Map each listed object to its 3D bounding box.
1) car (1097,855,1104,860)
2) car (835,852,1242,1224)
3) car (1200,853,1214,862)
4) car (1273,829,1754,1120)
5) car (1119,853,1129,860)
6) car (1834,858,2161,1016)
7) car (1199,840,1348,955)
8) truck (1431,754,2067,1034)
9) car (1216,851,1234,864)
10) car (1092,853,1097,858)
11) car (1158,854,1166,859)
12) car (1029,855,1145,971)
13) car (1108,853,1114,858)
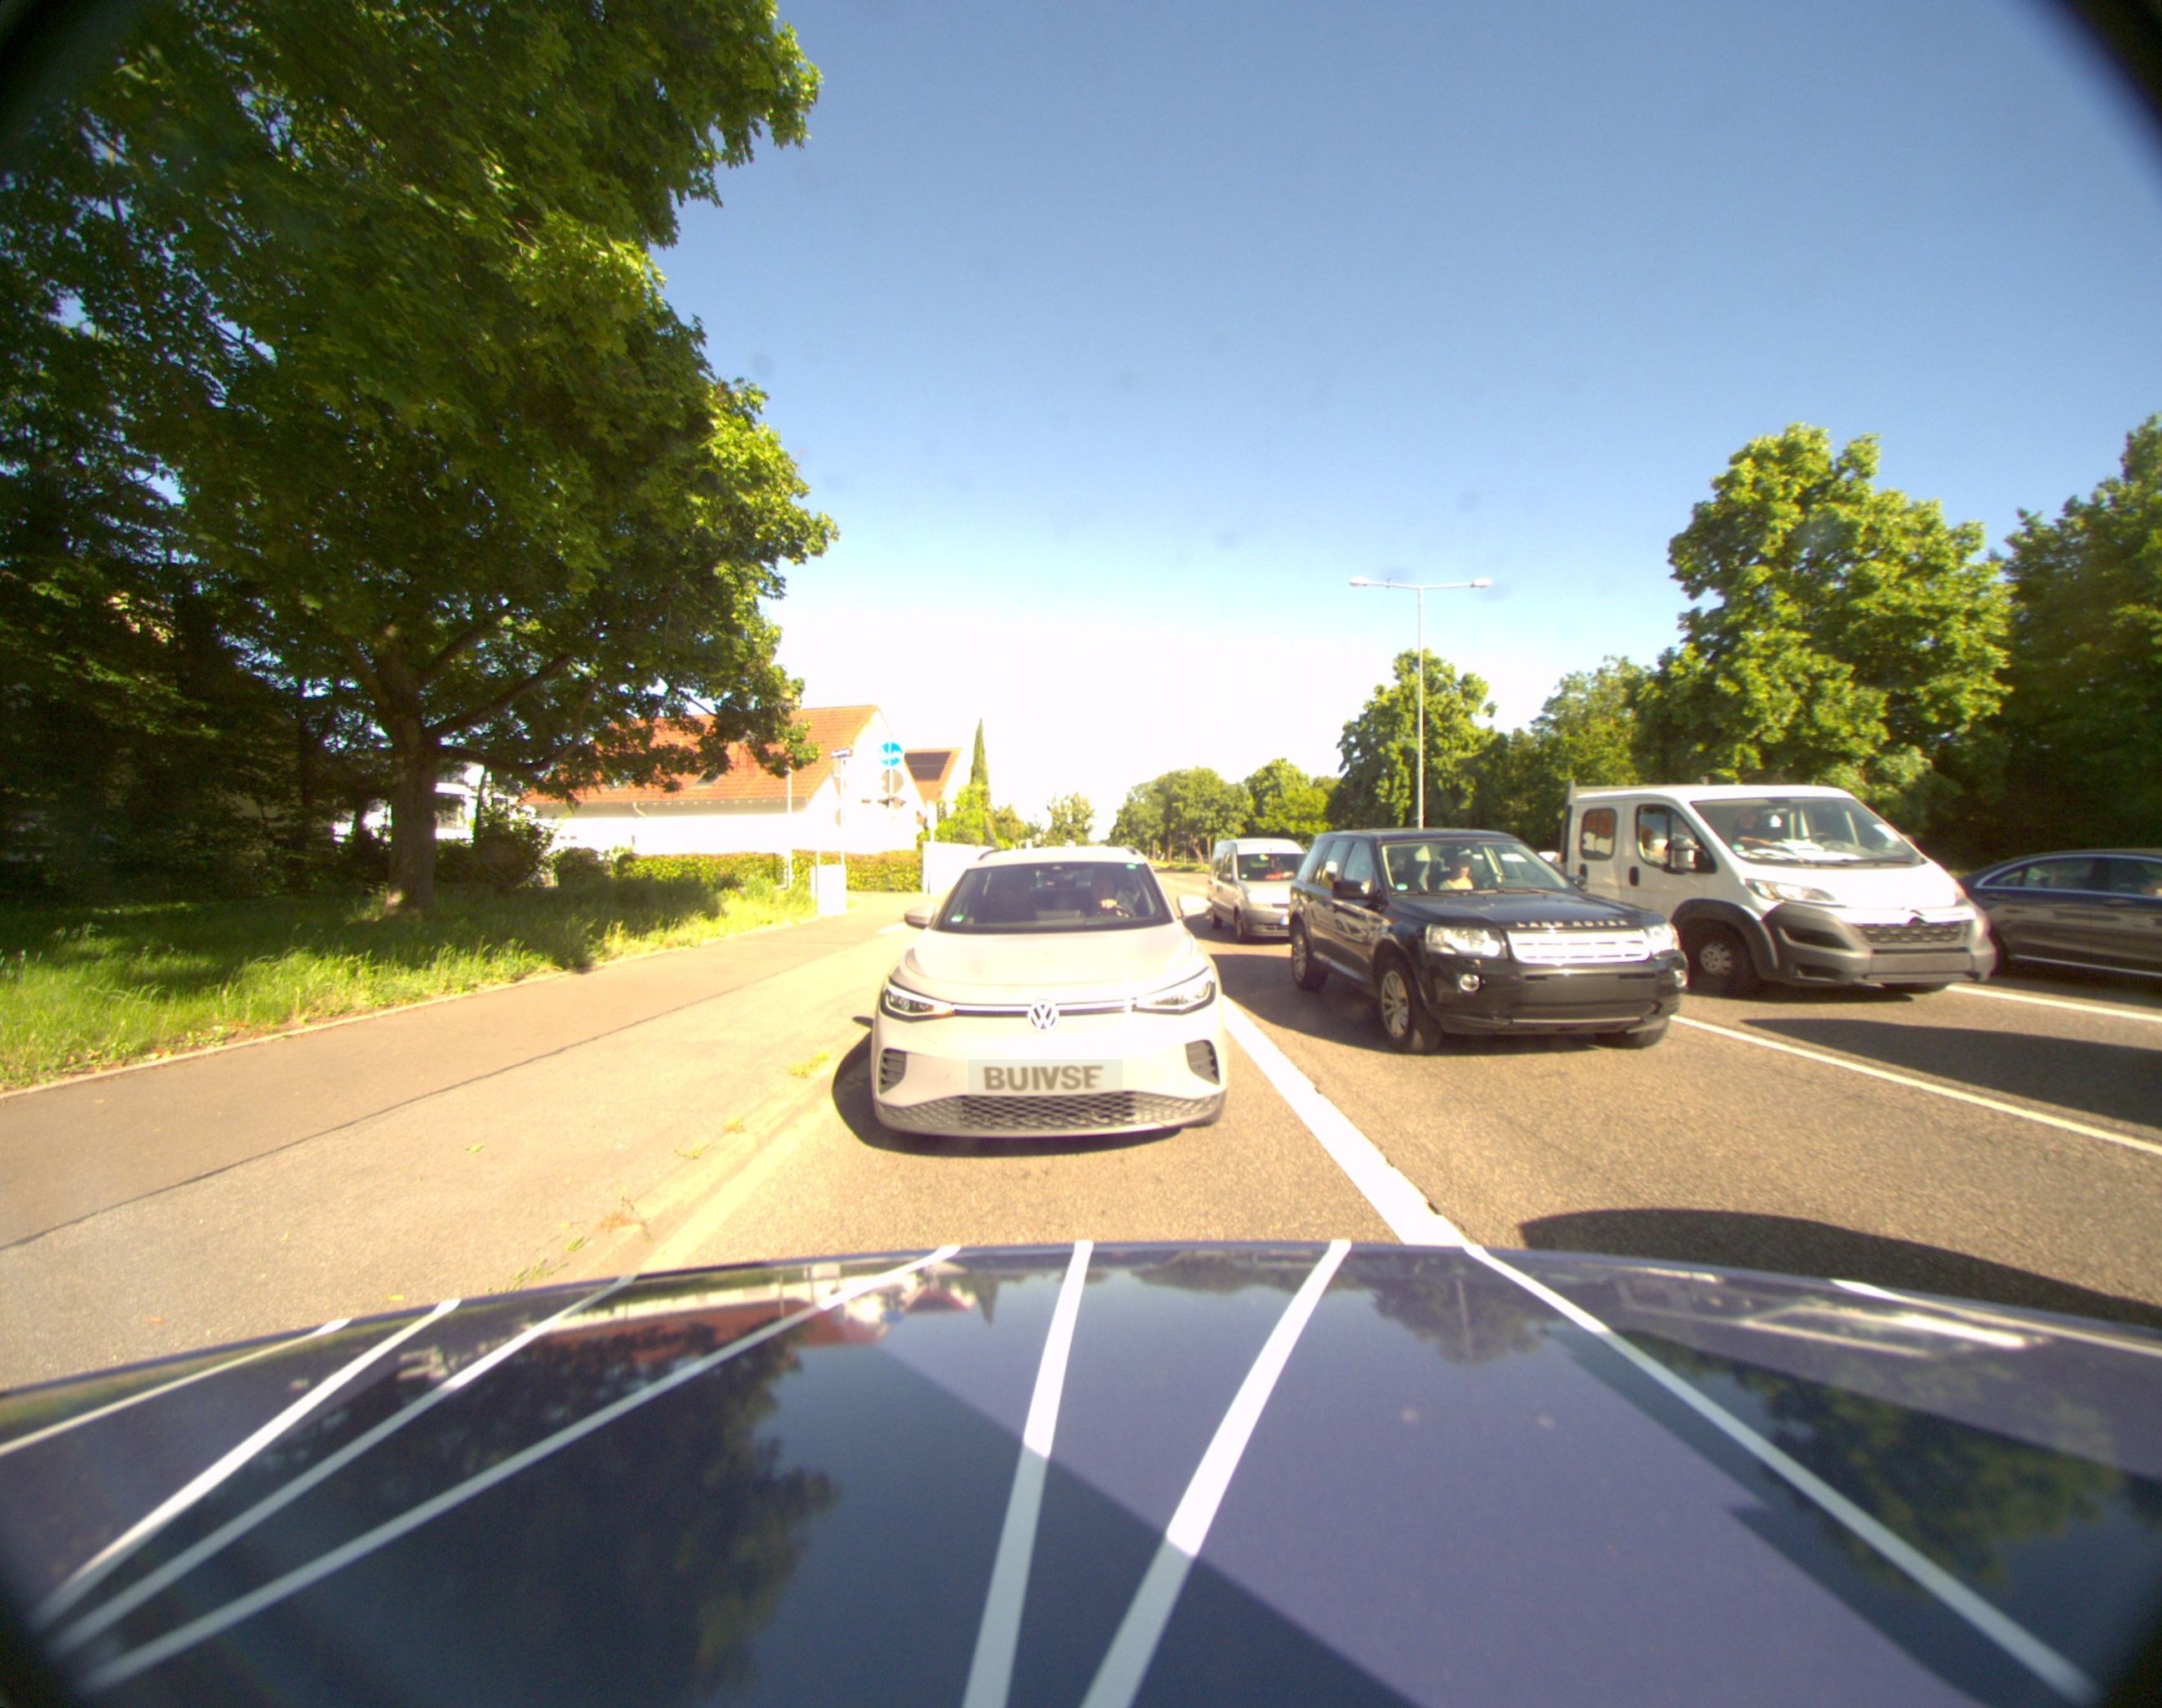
[{"bbox_3d":[4.951,0.870,193.717,1.704,1.466,3.931,0,0,1],"label":"car"},{"bbox_3d":[-0.168,0.841,5.582,1.858,1.679,4.206,0,1,1],"label":"car"},{"bbox_3d":[20.494,0.539,123.671,1.792,1.409,4.000,0,0,1],"label":"car"},{"bbox_3d":[3.168,0.707,6.777,1.816,1.721,4.386,-2,1,1],"label":"car"},{"bbox_3d":[8.641,0.534,152.439,1.704,1.466,3.931,-1,0,0],"label":"car"},{"bbox_3d":[10.721,0.781,7.680,1.816,1.382,4.385,1,1,-1],"label":"car"},{"bbox_3d":[3.327,0.645,13.972,1.632,1.741,4.386,-2,1,1],"label":"car"},{"bbox_3d":[7.216,0.301,9.820,2.185,2.307,6.842,-2,1,0],"label":"truck"},{"bbox_3d":[19.978,0.488,105.454,1.792,1.674,4.000,0,0,1],"label":"car"},{"bbox_3d":[4.464,0.545,248.469,1.726,1.630,4.000,0,0,1],"label":"car"},{"bbox_3d":[21.010,0.666,196.990,1.792,1.409,4.000,0,0,1],"label":"car"},{"bbox_3d":[0.111,0.858,13.026,1.632,1.586,4.024,-2,1,1],"label":"car"},{"bbox_3d":[8.829,0.506,223.508,1.726,1.436,4.000,0,0,0],"label":"car"}]
